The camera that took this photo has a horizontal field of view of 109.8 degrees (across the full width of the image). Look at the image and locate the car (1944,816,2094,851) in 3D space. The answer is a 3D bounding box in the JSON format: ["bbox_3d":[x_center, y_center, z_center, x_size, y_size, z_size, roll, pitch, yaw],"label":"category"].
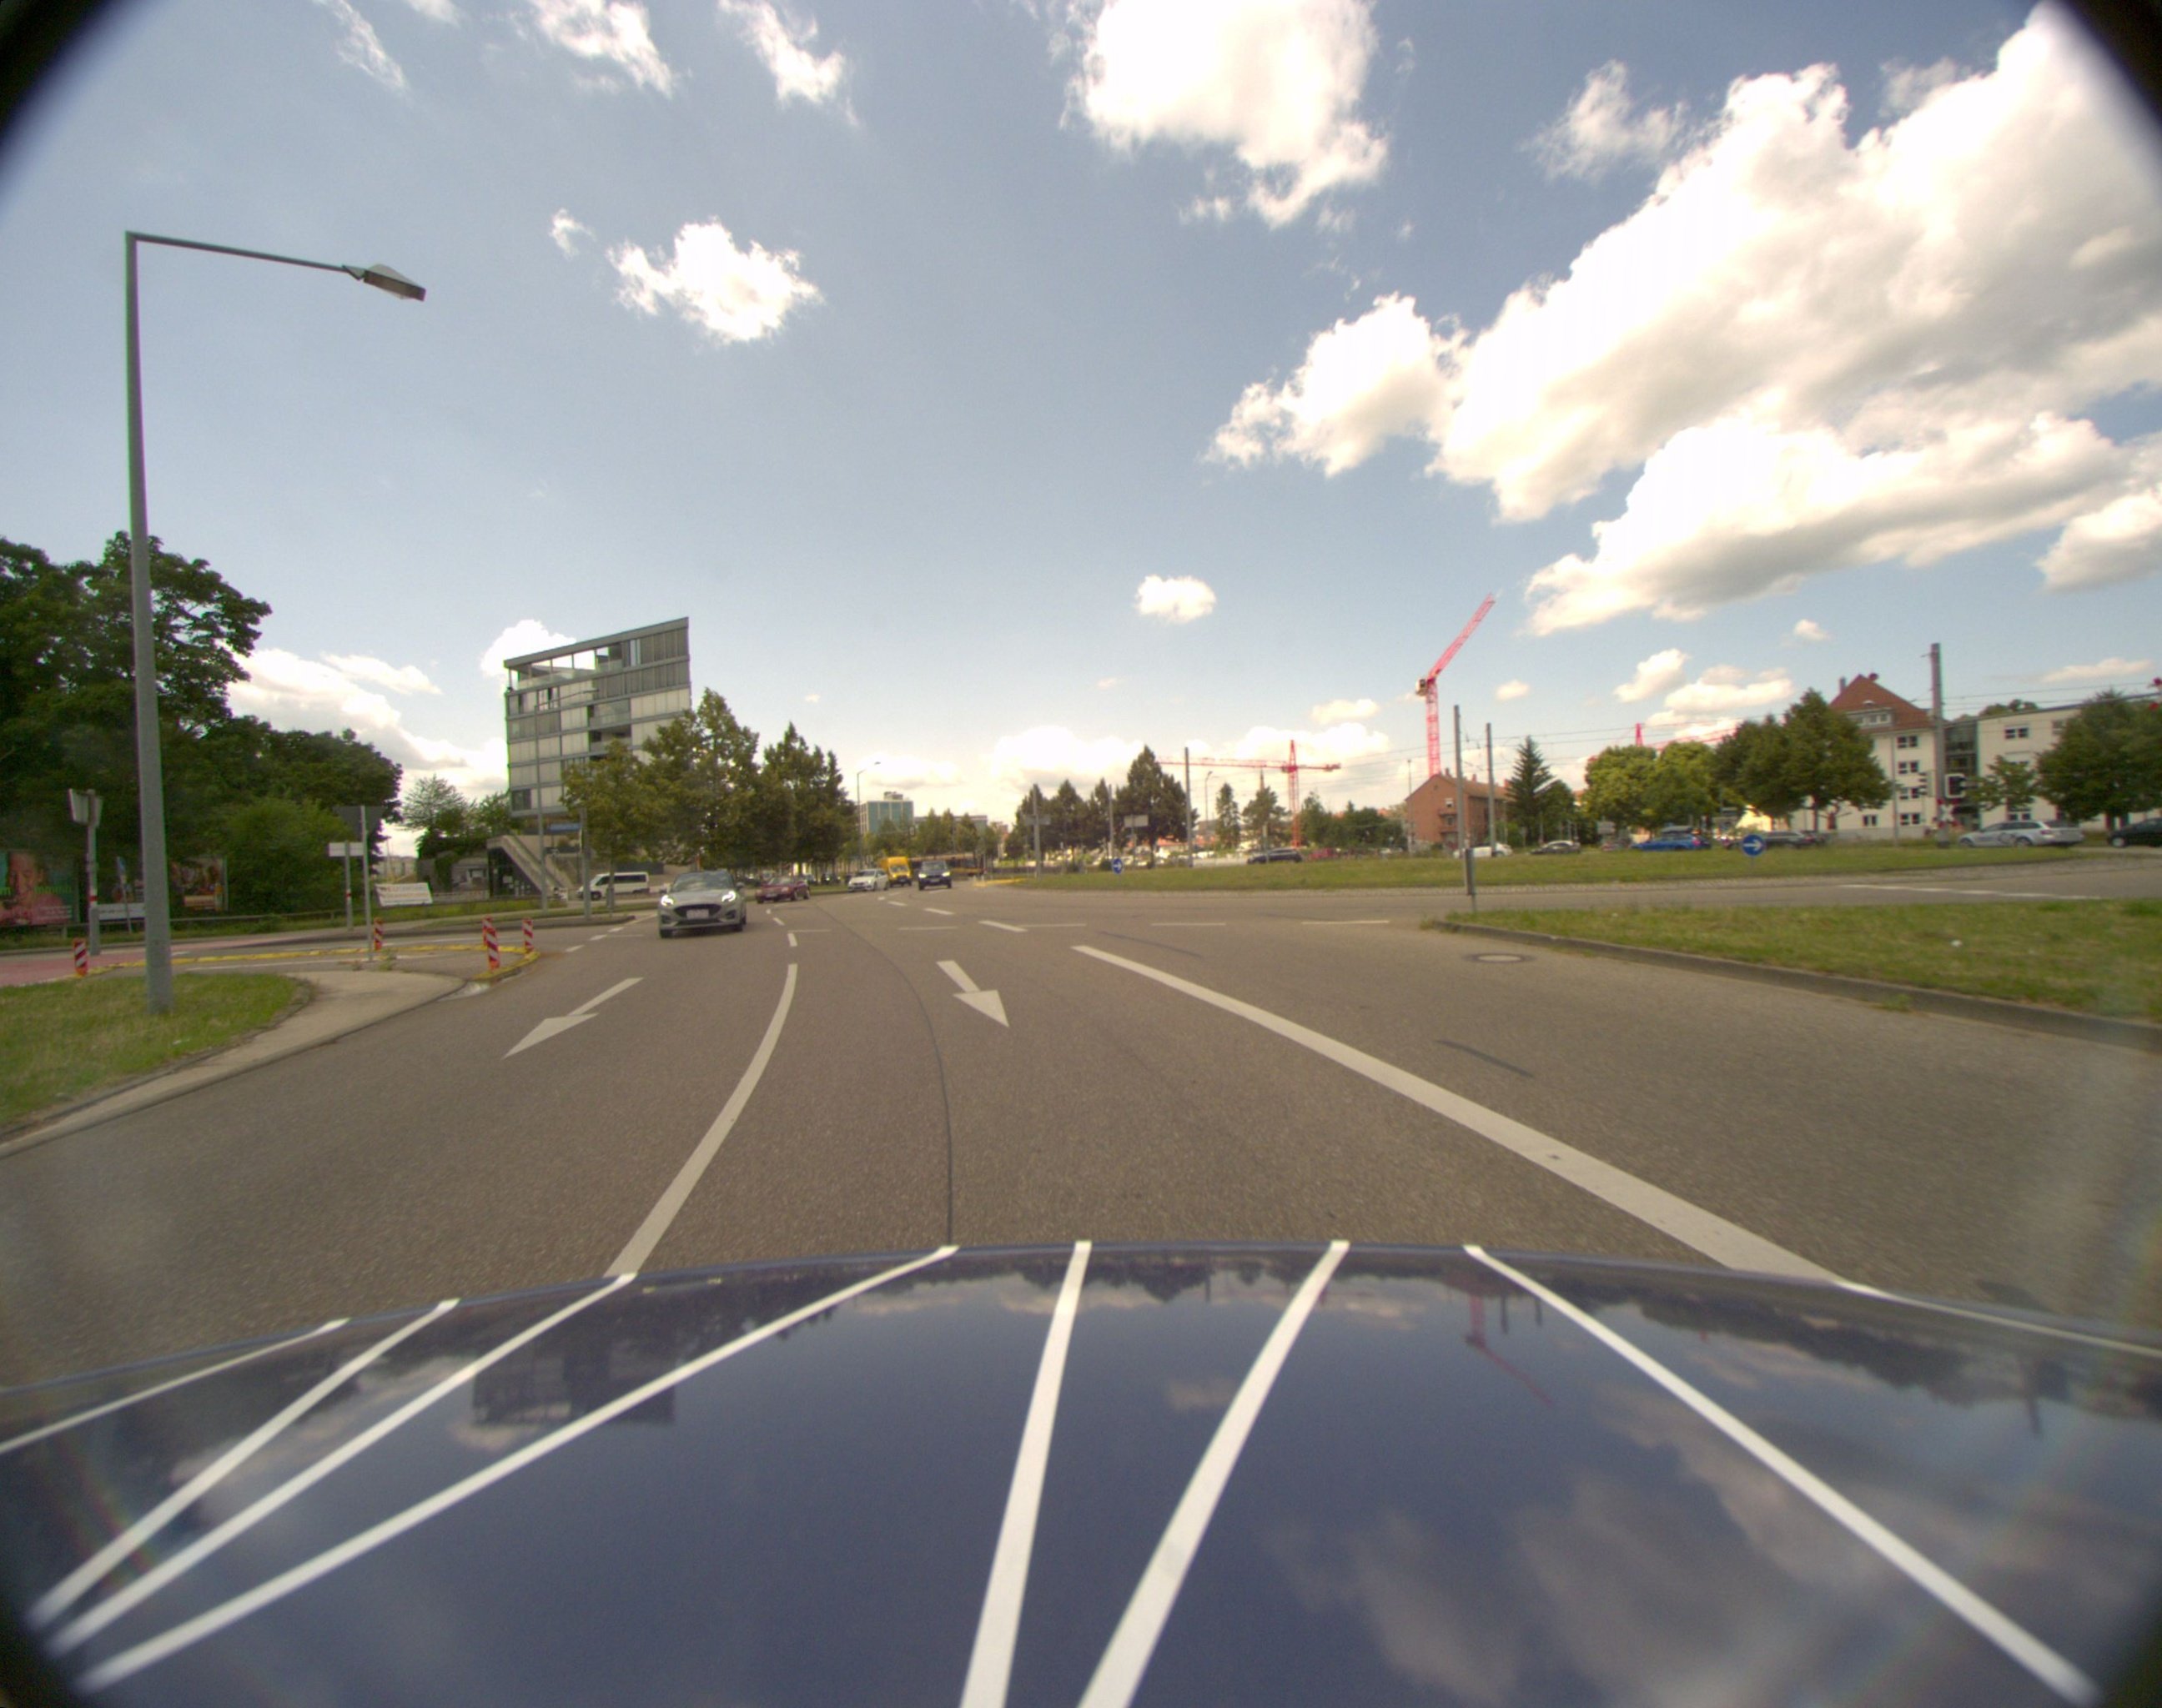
[{"bbox_3d":[46.250,-0.961,37.641,2.121,1.512,4.510,-3,-1,8],"label":"car"}]

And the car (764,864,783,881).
[{"bbox_3d":[-46.241,2.792,114.271,2.165,2.380,6.266,-5,1,-25],"label":"car"}]

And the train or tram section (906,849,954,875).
[{"bbox_3d":[-23.442,1.300,116.918,2.699,3.617,14.633,-3,0,-29],"label":"train or tram section"}]

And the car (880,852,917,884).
[{"bbox_3d":[-17.571,1.300,72.692,2.288,2.836,7.243,-3,0,-22],"label":"car"}]

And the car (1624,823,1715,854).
[{"bbox_3d":[38.990,-0.972,50.480,1.758,1.787,4.400,-3,0,-23],"label":"car"}]

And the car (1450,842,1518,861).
[{"bbox_3d":[31.546,-0.180,59.575,4.300,1.321,2.004,-3,0,44],"label":"car"}]

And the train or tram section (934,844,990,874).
[{"bbox_3d":[-16.571,0.812,104.704,2.855,3.717,13.448,-3,0,-29],"label":"train or tram section"}]

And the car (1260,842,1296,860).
[{"bbox_3d":[26.347,-0.388,101.714,2.394,2.184,6.835,-3,0,-5],"label":"car"}]

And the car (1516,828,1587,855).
[{"bbox_3d":[39.681,-1.055,64.126,4.713,2.002,2.004,-3,0,43],"label":"car"}]

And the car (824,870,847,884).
[{"bbox_3d":[-32.438,3.024,100.302,2.002,1.751,4.287,-5,1,-28],"label":"car"}]

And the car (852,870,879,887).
[{"bbox_3d":[-24.762,2.750,87.175,2.002,1.751,4.287,-5,1,-28],"label":"car"}]

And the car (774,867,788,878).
[{"bbox_3d":[-47.157,2.879,119.444,1.826,1.641,3.993,-5,1,-21],"label":"car"}]

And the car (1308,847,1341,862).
[{"bbox_3d":[33.144,0.056,103.597,2.088,1.841,5.181,-3,0,-10],"label":"car"}]

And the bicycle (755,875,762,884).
[{"bbox_3d":[-39.709,3.163,93.557,0.517,1.082,1.745,-2,-1,-32],"label":"bicycle"}]

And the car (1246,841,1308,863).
[{"bbox_3d":[16.826,-0.147,65.446,5.062,1.665,2.002,-3,0,12],"label":"car"}]

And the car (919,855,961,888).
[{"bbox_3d":[-8.017,0.929,43.412,1.775,1.590,4.125,-4,2,-4],"label":"car"}]

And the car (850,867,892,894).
[{"bbox_3d":[-14.602,1.812,53.131,1.674,1.589,4.127,-4,0,0],"label":"car"}]

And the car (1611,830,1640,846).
[{"bbox_3d":[65.298,-1.934,91.080,2.061,1.616,4.952,-5,-1,44],"label":"car"}]

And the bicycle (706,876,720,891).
[{"bbox_3d":[-31.105,2.483,64.170,0.814,1.237,2.406,-3,0,-30],"label":"bicycle"}]

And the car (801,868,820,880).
[{"bbox_3d":[-41.232,3.085,115.780,2.002,1.681,4.287,-5,1,-28],"label":"car"}]

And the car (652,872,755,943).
[{"bbox_3d":[-9.421,1.252,19.267,1.676,1.462,4.086,-2,0,-18],"label":"car"}]

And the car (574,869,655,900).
[{"bbox_3d":[-38.249,2.493,62.388,2.143,2.135,5.161,-3,0,42],"label":"car"}]

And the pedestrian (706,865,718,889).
[{"bbox_3d":[-31.180,1.913,64.238,0.756,2.002,1.229,-3,1,-29],"label":"pedestrian"}]

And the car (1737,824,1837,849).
[{"bbox_3d":[45.462,-1.099,49.071,1.954,1.315,4.489,-3,-1,-7],"label":"car"}]

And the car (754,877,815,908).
[{"bbox_3d":[-14.438,1.842,37.230,1.674,1.254,4.090,-2,0,-5],"label":"car"}]
